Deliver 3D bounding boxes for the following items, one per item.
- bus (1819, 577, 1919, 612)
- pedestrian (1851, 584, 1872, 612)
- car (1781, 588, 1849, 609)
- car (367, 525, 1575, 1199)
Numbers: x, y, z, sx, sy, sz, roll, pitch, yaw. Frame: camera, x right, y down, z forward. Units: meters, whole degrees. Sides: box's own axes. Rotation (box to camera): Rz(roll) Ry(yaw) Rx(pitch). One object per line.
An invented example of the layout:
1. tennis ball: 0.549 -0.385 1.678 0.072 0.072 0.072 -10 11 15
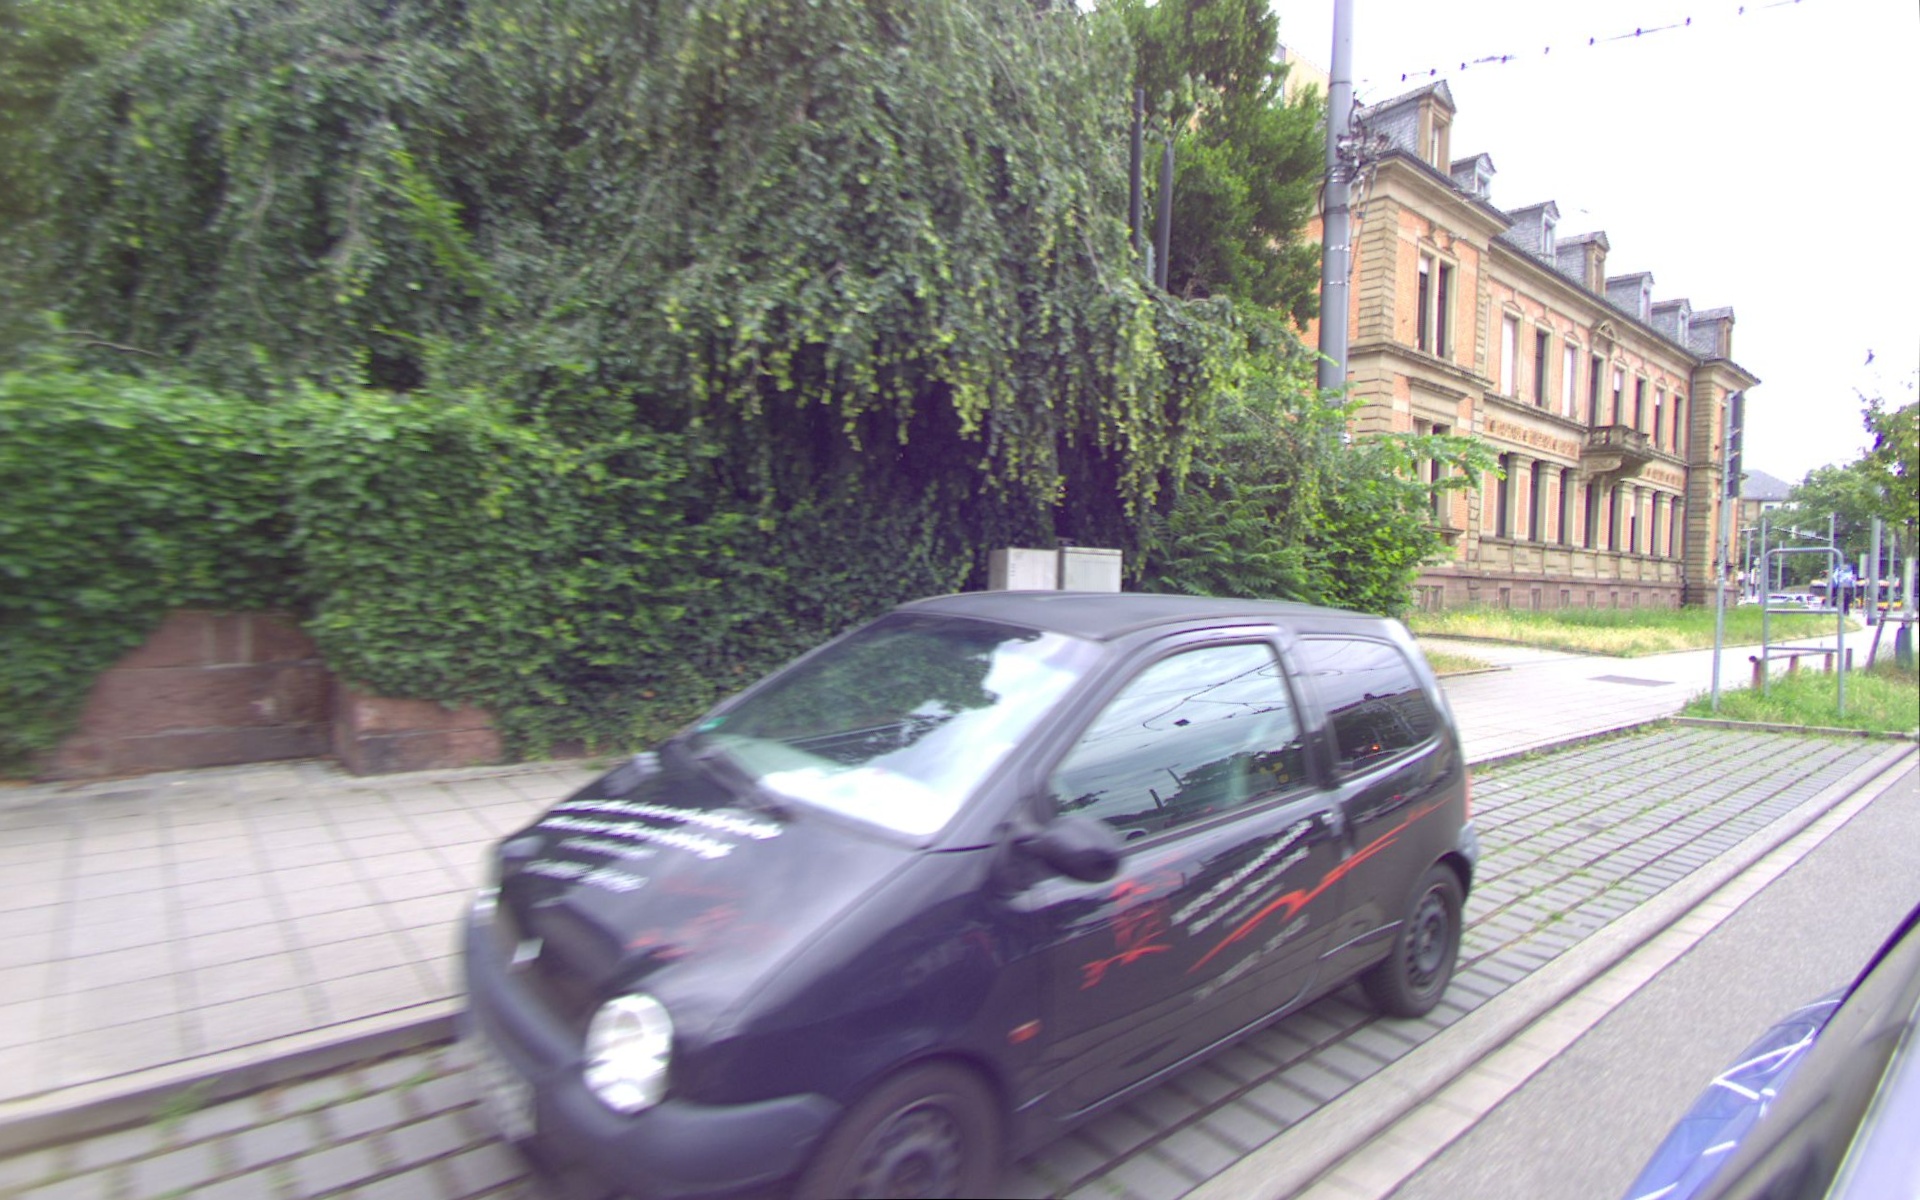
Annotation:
1. bus: 91.367 -0.644 101.946 2.827 3.115 11.954 1 2 18
2. pedestrian: 63.024 -0.142 70.777 0.774 1.967 0.972 2 1 27
3. car: 66.122 -0.131 78.317 1.962 1.511 3.622 0 2 -35
4. car: 0.403 0.592 3.367 3.862 1.451 1.641 0 4 -41
